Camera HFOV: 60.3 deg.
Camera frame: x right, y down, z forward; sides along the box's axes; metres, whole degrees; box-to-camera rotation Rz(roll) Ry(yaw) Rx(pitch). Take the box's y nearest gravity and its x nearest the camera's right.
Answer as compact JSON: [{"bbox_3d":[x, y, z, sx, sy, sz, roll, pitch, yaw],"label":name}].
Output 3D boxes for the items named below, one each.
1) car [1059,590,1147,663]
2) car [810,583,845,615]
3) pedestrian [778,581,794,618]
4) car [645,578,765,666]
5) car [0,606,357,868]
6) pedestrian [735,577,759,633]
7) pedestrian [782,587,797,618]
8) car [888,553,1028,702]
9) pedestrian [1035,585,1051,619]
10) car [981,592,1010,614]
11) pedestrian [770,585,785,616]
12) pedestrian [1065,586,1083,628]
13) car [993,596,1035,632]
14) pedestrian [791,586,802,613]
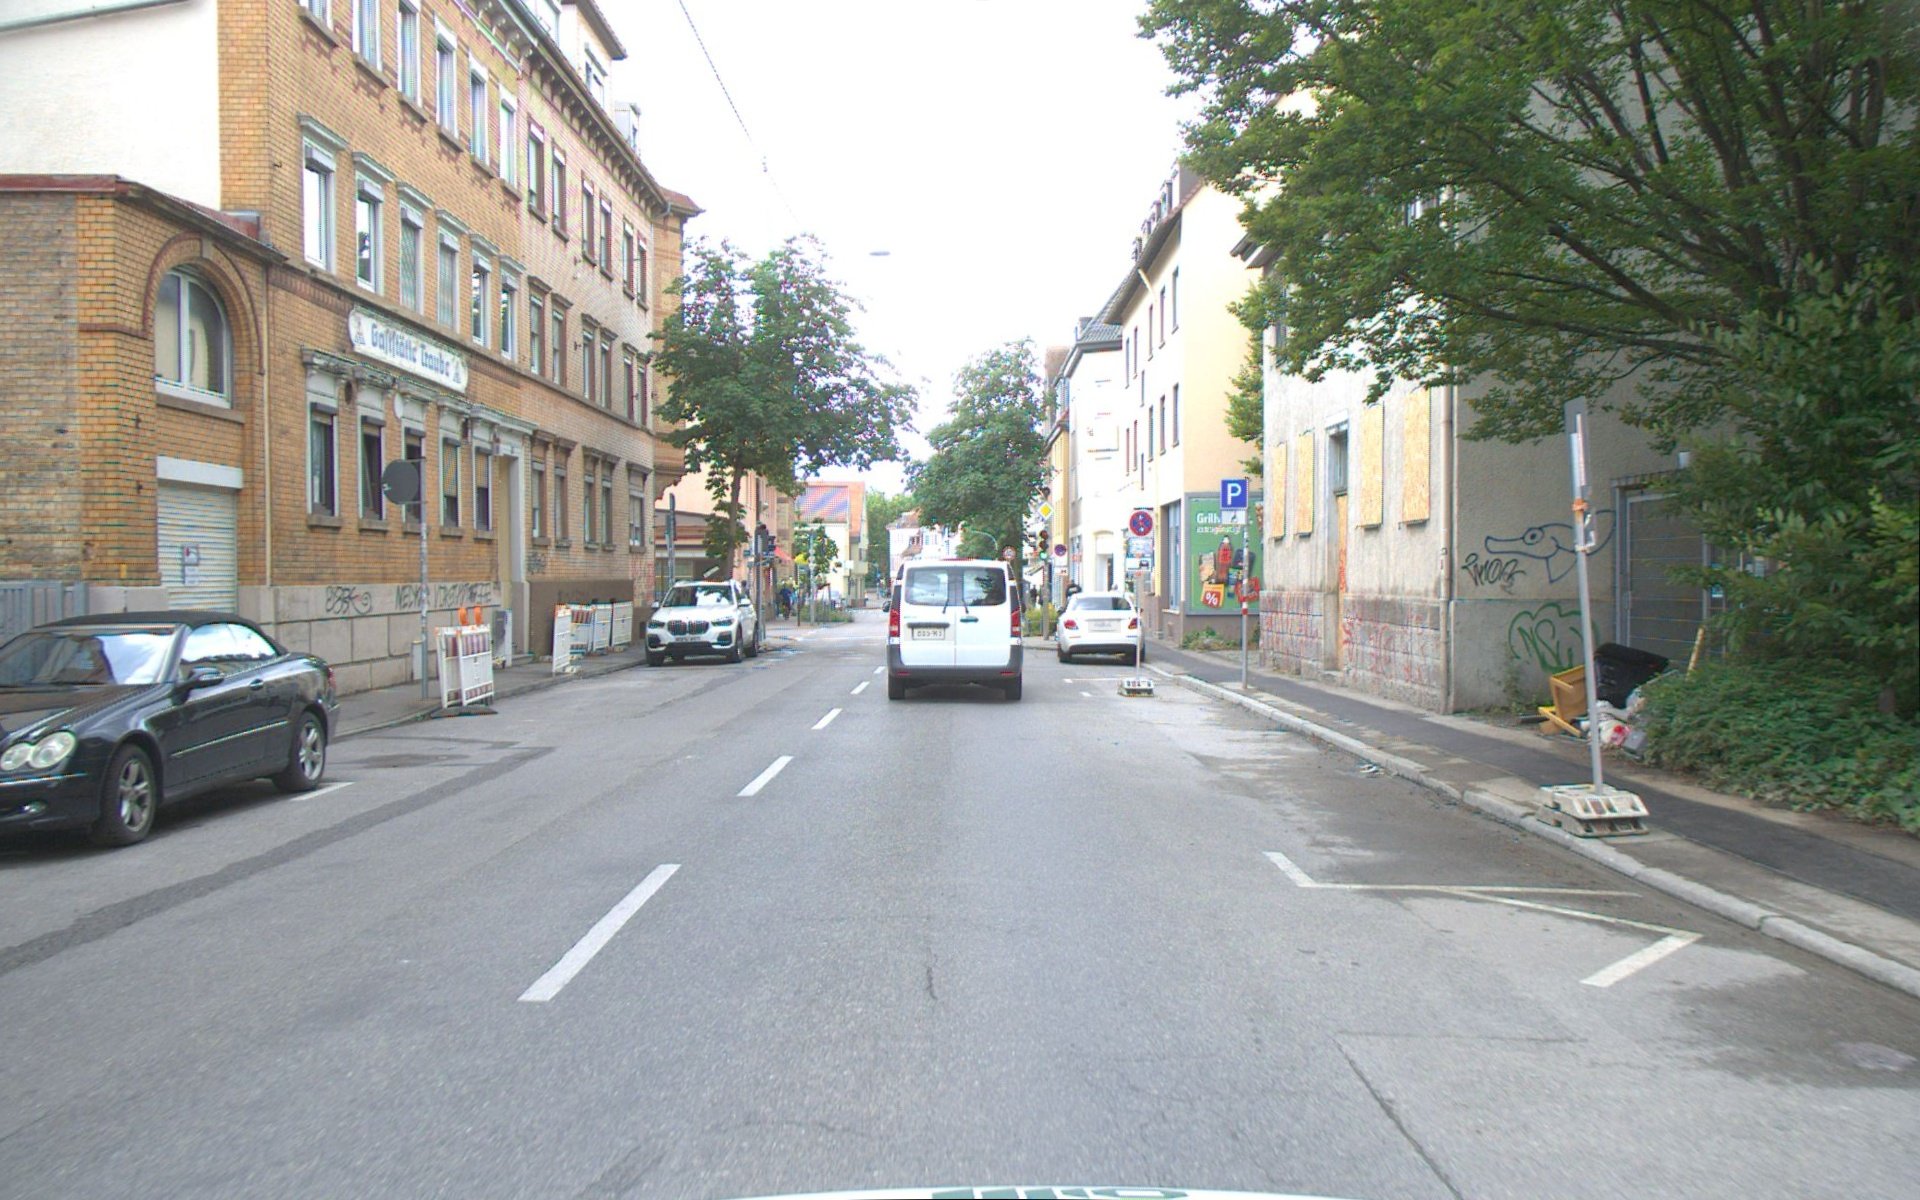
[{"bbox_3d":[3.088,0.527,36.498,1.730,1.491,4.785,0,0,2],"label":"car"},{"bbox_3d":[-7.206,-0.085,90.483,1.668,1.601,4.449,-2,1,-2],"label":"car"},{"bbox_3d":[-8.268,-0.015,78.548,0.724,1.748,1.156,0,0,-4],"label":"pedestrian"},{"bbox_3d":[-5.509,0.432,36.347,1.852,1.742,4.741,-2,0,0],"label":"car"},{"bbox_3d":[-5.772,0.796,11.424,1.546,1.407,4.354,-2,0,0],"label":"car"},{"bbox_3d":[-6.852,0.169,53.199,0.724,1.785,0.981,0,0,-6],"label":"pedestrian"},{"bbox_3d":[-8.634,0.099,83.805,0.724,1.561,0.982,0,0,-3],"label":"pedestrian"},{"bbox_3d":[-0.054,0.350,23.661,1.834,1.945,3.999,0,0,-1],"label":"car"},{"bbox_3d":[4.245,0.088,84.396,0.687,1.678,0.888,-1,0,-2],"label":"pedestrian"},{"bbox_3d":[2.174,0.190,102.708,1.520,1.356,3.810,0,0,-3],"label":"car"},{"bbox_3d":[-9.830,0.034,88.984,0.717,1.657,0.756,0,0,-11],"label":"pedestrian"},{"bbox_3d":[4.672,0.279,67.621,0.602,1.681,0.982,1,0,-2],"label":"pedestrian"},{"bbox_3d":[2.741,0.704,85.226,1.783,1.812,4.400,0,0,-3],"label":"car"},{"bbox_3d":[-9.463,-0.026,95.868,0.559,1.581,0.696,1,0,-1],"label":"pedestrian"}]
